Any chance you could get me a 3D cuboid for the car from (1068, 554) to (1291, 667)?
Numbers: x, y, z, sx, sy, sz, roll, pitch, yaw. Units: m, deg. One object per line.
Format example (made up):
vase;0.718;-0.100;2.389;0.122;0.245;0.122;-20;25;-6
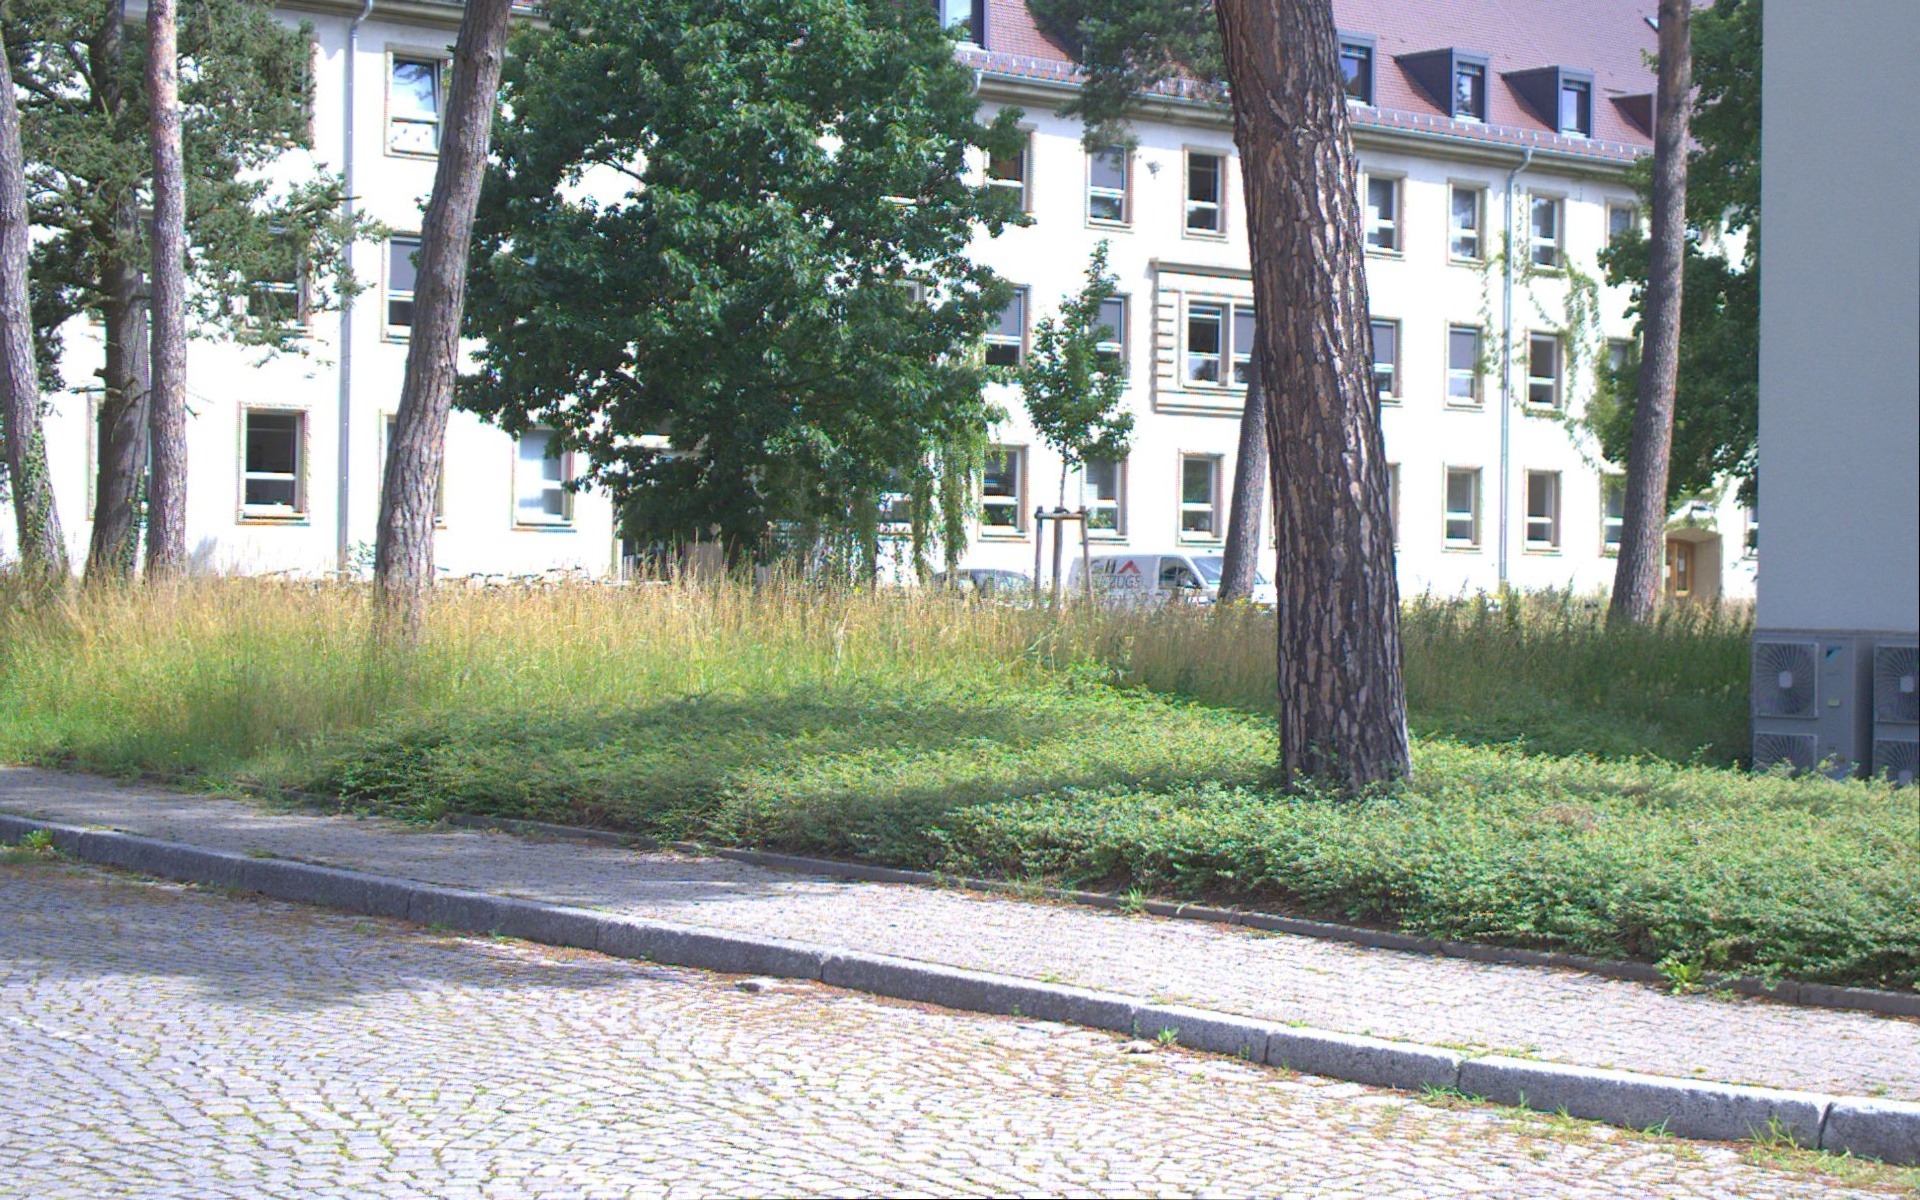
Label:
car;3.944;0.170;62.370;1.708;1.985;4.071;1;0;-39
